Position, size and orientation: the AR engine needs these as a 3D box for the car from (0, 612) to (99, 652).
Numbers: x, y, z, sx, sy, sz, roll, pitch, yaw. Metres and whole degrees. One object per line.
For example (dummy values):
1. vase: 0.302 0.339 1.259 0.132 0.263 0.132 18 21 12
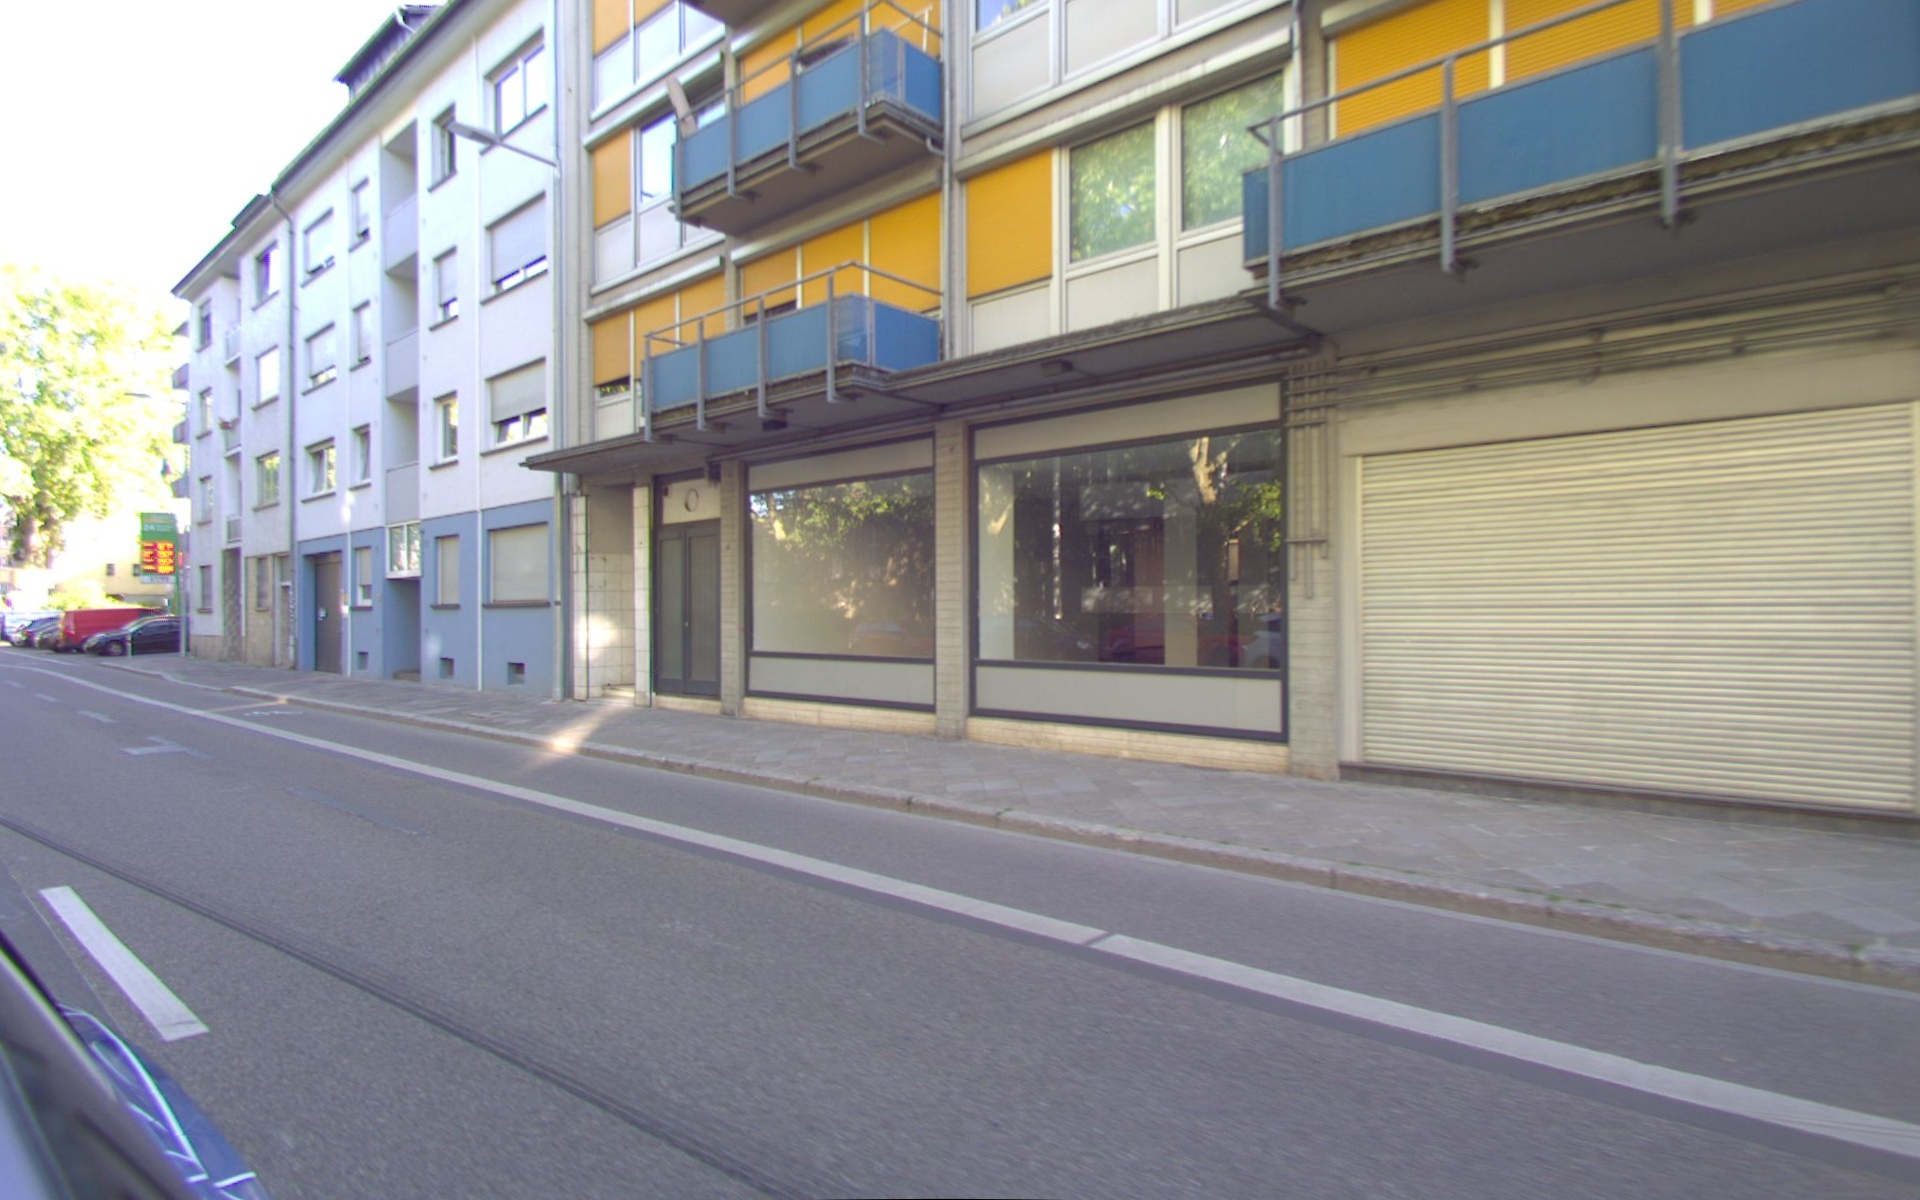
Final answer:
1. car: -56.445 1.929 62.438 2.139 2.233 4.794 -1 1 41

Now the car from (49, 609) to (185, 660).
1. car: -37.786 1.492 45.412 2.145 1.966 4.375 -2 1 42

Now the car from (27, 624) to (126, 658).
1. car: -45.747 2.085 52.449 1.830 1.524 3.647 -1 1 41

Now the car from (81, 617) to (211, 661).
1. car: -35.270 1.641 43.921 1.886 1.575 4.129 -1 1 42

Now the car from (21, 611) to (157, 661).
1. car: -40.252 1.613 46.857 2.056 1.966 4.475 -2 1 42

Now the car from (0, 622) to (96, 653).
1. car: -53.232 2.172 59.105 1.852 1.571 3.945 -2 0 41

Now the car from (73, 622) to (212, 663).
1. car: -33.815 1.719 41.917 2.045 1.390 4.184 -1 1 42

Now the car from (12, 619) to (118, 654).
1. car: -49.624 2.005 56.159 2.027 1.696 4.150 -1 0 41

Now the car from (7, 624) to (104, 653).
1. car: -51.573 2.200 57.770 1.852 1.444 3.945 -2 0 41

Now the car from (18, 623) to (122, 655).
1. car: -47.439 2.065 53.972 1.915 1.466 3.945 -2 0 41
